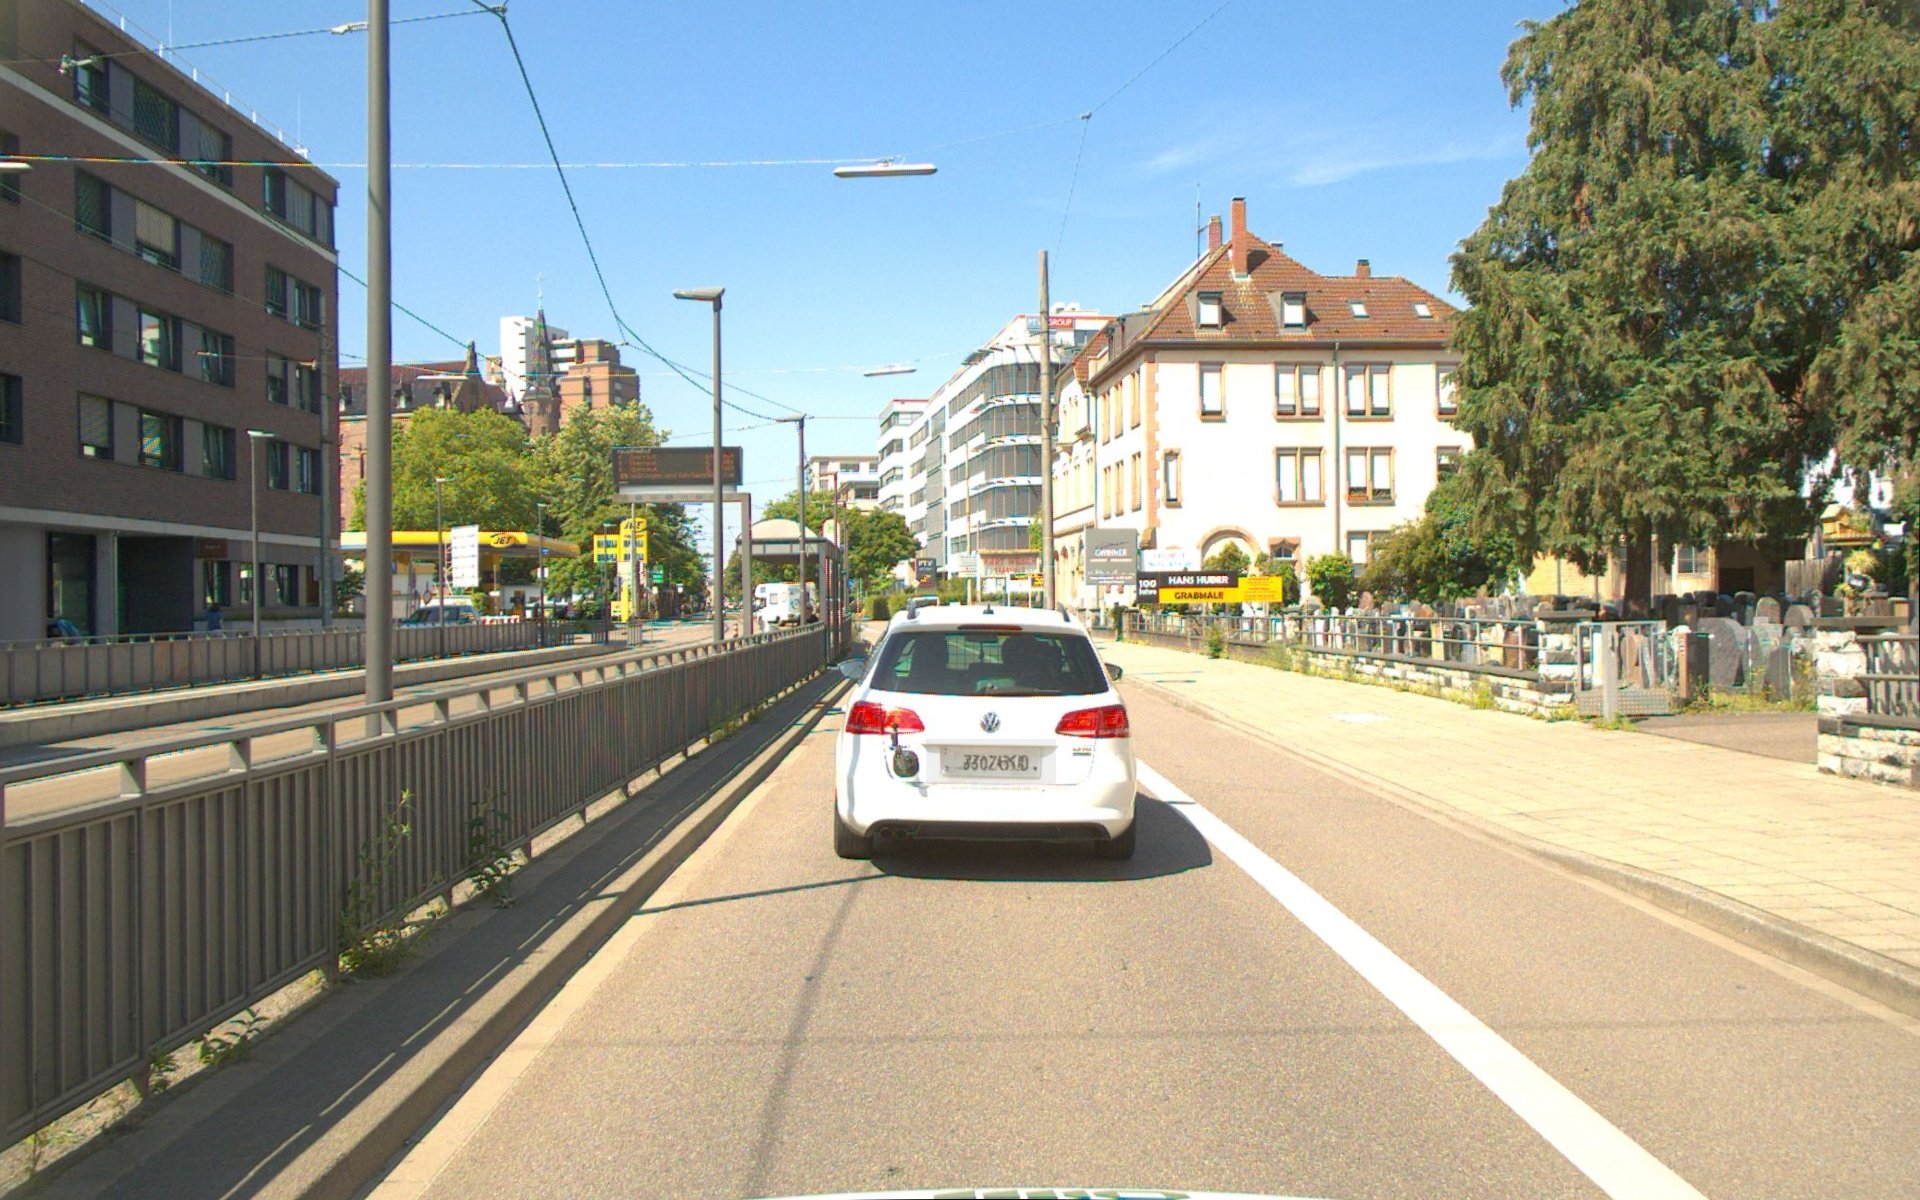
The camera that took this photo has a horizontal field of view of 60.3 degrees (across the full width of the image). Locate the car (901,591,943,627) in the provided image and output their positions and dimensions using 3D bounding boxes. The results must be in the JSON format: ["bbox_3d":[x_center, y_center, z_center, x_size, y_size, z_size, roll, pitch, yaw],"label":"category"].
[{"bbox_3d":[-2.400,0.550,102.947,1.940,2.090,5.181,-3,0,-8],"label":"car"}]

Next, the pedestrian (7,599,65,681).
[{"bbox_3d":[-21.051,0.901,37.698,0.827,1.851,0.838,-1,0,-1],"label":"pedestrian"}]

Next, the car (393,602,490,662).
[{"bbox_3d":[-16.163,0.978,51.743,1.764,1.759,4.188,1,0,-1],"label":"car"}]

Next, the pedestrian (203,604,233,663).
[{"bbox_3d":[-21.636,0.959,48.238,0.569,1.693,0.699,-1,0,-3],"label":"pedestrian"}]

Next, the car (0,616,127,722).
[{"bbox_3d":[-15.904,1.112,28.132,1.677,1.651,3.578,0,0,-1],"label":"car"}]

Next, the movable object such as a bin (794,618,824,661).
[{"bbox_3d":[-3.300,0.857,36.211,0.617,0.916,0.488,-1,0,-2],"label":"movable object such as a bin"}]

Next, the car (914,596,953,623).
[{"bbox_3d":[-1.580,0.586,97.085,1.690,1.468,4.304,-3,0,-8],"label":"car"}]

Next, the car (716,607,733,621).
[{"bbox_3d":[-29.033,1.762,204.060,1.711,1.598,3.888,-2,-1,-3],"label":"car"}]

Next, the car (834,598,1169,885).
[{"bbox_3d":[0.150,0.737,10.747,1.718,1.467,4.411,1,0,-2],"label":"car"}]

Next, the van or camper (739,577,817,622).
[{"bbox_3d":[-12.972,-0.085,117.548,2.586,3.019,6.630,3,-1,-35],"label":"van or camper"}]

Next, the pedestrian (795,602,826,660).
[{"bbox_3d":[-3.327,0.681,36.806,0.616,1.277,0.709,-1,0,-2],"label":"pedestrian"}]

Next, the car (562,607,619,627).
[{"bbox_3d":[-30.690,1.395,137.385,1.910,1.653,4.562,-1,0,35],"label":"car"}]
